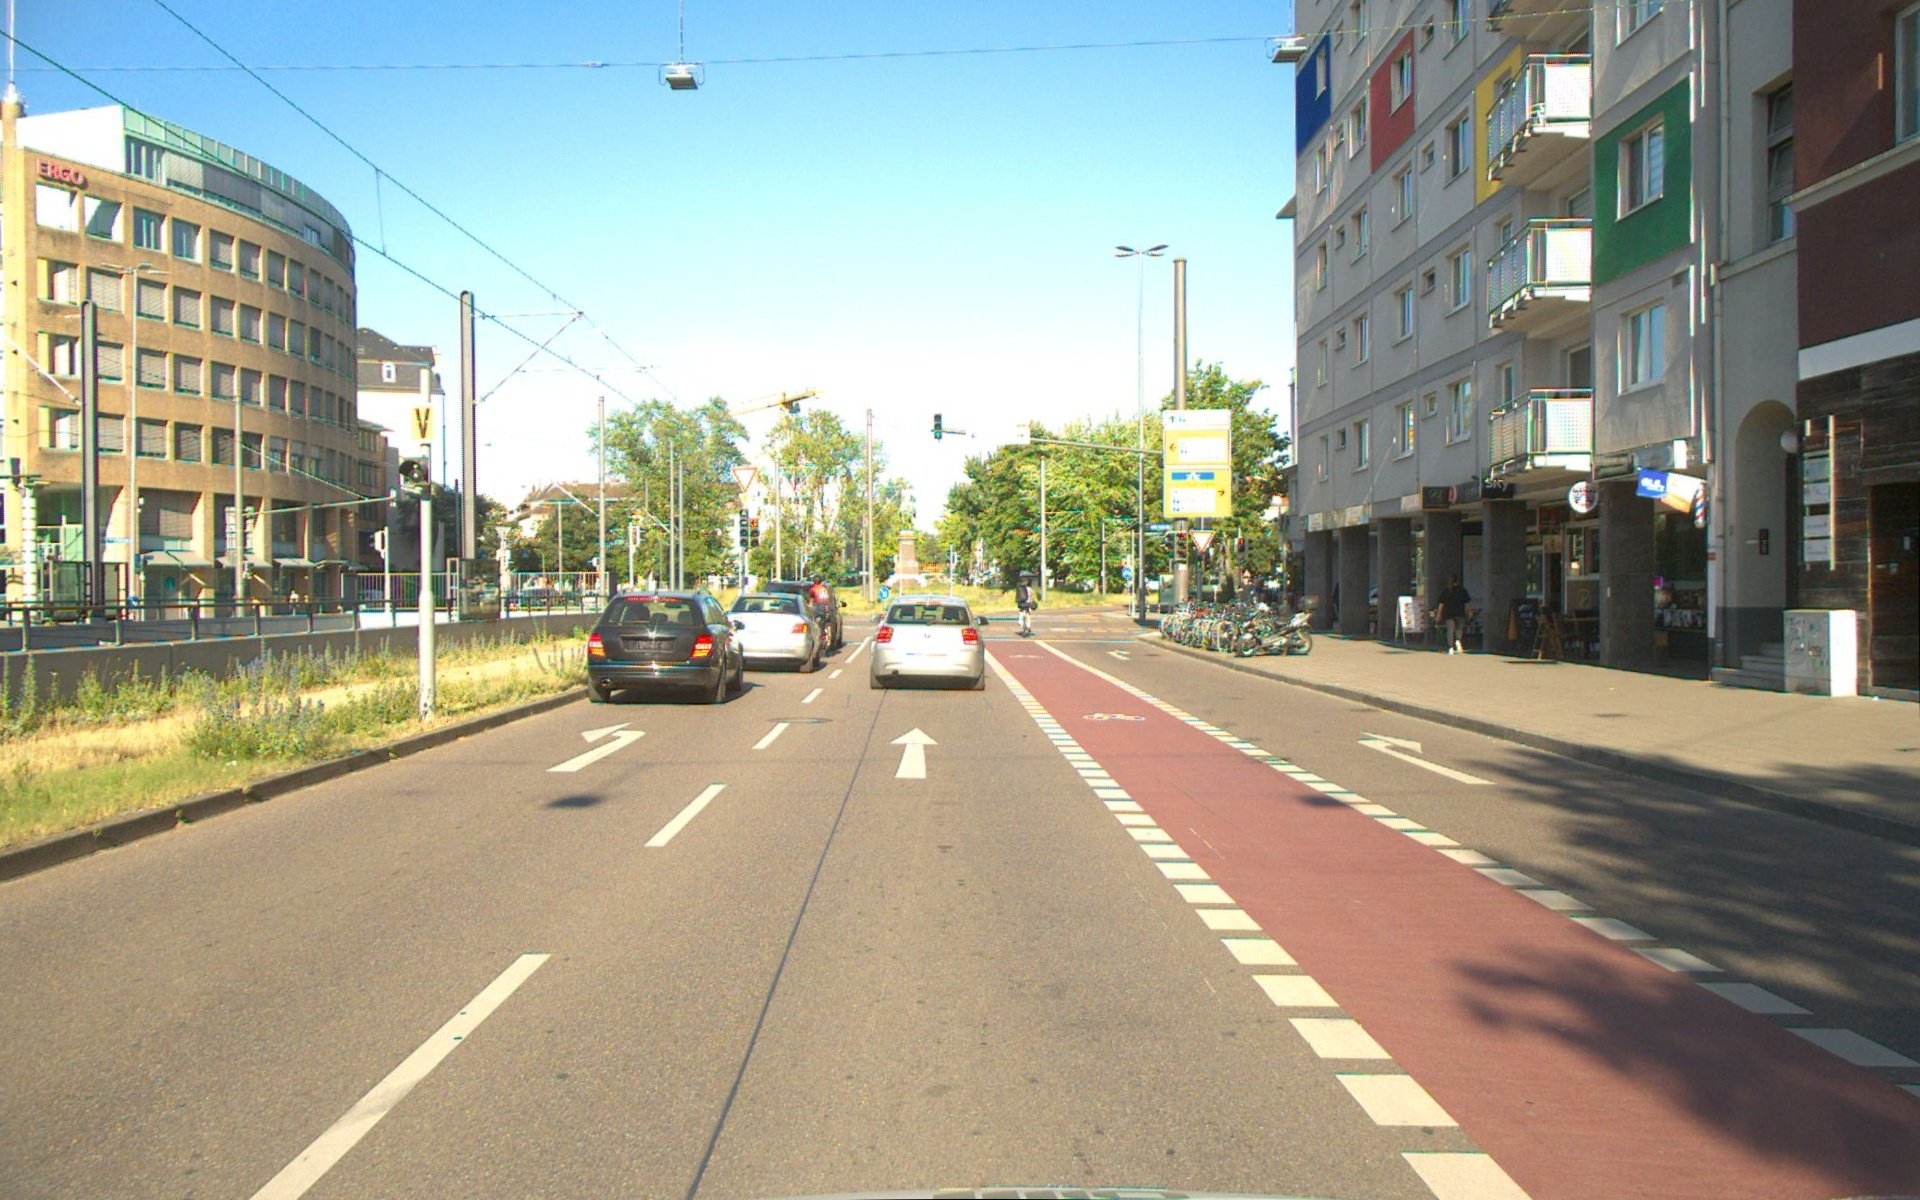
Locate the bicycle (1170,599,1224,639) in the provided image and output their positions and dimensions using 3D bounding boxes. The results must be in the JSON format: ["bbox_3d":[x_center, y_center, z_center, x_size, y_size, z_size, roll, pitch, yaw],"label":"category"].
[{"bbox_3d":[6.629,0.532,46.269,1.435,1.086,0.257,-1,0,1],"label":"bicycle"}]

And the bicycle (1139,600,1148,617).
[{"bbox_3d":[10.811,0.495,97.447,0.344,0.975,1.573,2,0,0],"label":"bicycle"}]

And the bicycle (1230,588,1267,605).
[{"bbox_3d":[18.317,-0.227,105.112,2.270,1.087,0.556,0,0,22],"label":"bicycle"}]

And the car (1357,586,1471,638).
[{"bbox_3d":[19.245,0.503,70.195,4.272,2.049,1.972,2,0,0],"label":"car"}]

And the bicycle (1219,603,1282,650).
[{"bbox_3d":[6.865,0.622,39.105,1.435,1.086,0.257,-1,0,1],"label":"bicycle"}]

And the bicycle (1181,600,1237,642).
[{"bbox_3d":[6.669,0.567,44.361,1.435,1.086,0.257,-1,0,1],"label":"bicycle"}]

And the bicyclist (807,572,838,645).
[{"bbox_3d":[-3.029,0.178,36.431,0.606,1.599,0.684,0,0,-13],"label":"bicyclist"}]

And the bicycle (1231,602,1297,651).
[{"bbox_3d":[6.957,0.609,37.846,1.435,1.086,0.257,-1,0,1],"label":"bicycle"}]

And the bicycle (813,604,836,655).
[{"bbox_3d":[-2.992,0.630,36.417,0.332,1.075,1.774,0,0,-11],"label":"bicycle"}]

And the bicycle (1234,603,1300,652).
[{"bbox_3d":[6.956,0.620,37.475,1.435,1.086,0.257,-1,0,1],"label":"bicycle"}]

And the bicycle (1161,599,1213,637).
[{"bbox_3d":[6.598,0.518,48.078,1.435,1.086,0.257,-1,0,1],"label":"bicycle"}]

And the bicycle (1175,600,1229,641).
[{"bbox_3d":[6.627,0.564,45.323,1.435,1.086,0.257,-1,0,1],"label":"bicycle"}]

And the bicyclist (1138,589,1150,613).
[{"bbox_3d":[10.818,0.041,97.378,0.604,1.404,0.686,2,0,0],"label":"bicyclist"}]

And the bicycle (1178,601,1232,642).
[{"bbox_3d":[6.664,0.571,44.998,1.435,1.086,0.257,-1,0,1],"label":"bicycle"}]

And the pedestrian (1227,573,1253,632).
[{"bbox_3d":[9.827,0.089,58.058,0.774,2.049,0.870,1,0,6],"label":"pedestrian"}]

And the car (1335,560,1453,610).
[{"bbox_3d":[19.196,-0.662,73.312,4.632,2.049,2.259,2,0,0],"label":"car"}]

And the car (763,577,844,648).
[{"bbox_3d":[-3.776,0.264,40.549,1.669,1.650,3.999,0,0,-1],"label":"car"}]

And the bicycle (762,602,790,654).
[{"bbox_3d":[-4.036,0.600,36.316,0.366,1.075,1.955,2,0,0],"label":"bicycle"}]

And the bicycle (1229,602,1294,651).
[{"bbox_3d":[6.957,0.611,38.225,1.435,1.086,0.257,-1,0,1],"label":"bicycle"}]

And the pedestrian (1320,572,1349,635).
[{"bbox_3d":[12.525,0.114,55.290,0.825,2.049,0.890,1,0,8],"label":"pedestrian"}]

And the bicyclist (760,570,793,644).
[{"bbox_3d":[-4.035,0.145,36.325,0.604,1.599,0.686,2,0,0],"label":"bicyclist"}]

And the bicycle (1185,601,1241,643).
[{"bbox_3d":[6.676,0.580,43.685,1.435,1.086,0.257,-1,0,1],"label":"bicycle"}]

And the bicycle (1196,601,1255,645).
[{"bbox_3d":[6.749,0.580,42.025,1.435,1.086,0.257,-1,0,1],"label":"bicycle"}]

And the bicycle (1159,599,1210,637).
[{"bbox_3d":[6.572,0.519,48.502,1.435,1.086,0.257,-1,0,1],"label":"bicycle"}]

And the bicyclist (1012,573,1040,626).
[{"bbox_3d":[1.984,-0.021,50.030,0.769,1.558,0.895,2,0,-1],"label":"bicyclist"}]

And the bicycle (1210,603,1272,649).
[{"bbox_3d":[6.843,0.633,40.293,1.435,1.086,0.257,-1,0,1],"label":"bicycle"}]

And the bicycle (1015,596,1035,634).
[{"bbox_3d":[1.962,0.433,50.053,0.489,1.107,1.996,2,0,-1],"label":"bicycle"}]

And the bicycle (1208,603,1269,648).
[{"bbox_3d":[6.836,0.628,40.637,1.435,1.086,0.257,-1,0,1],"label":"bicycle"}]

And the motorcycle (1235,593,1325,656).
[{"bbox_3d":[6.956,0.530,35.978,1.816,1.323,0.652,-1,0,2],"label":"motorcycle"}]

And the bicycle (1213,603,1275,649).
[{"bbox_3d":[6.849,0.621,39.920,1.435,1.086,0.257,-1,0,1],"label":"bicycle"}]

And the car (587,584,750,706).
[{"bbox_3d":[-3.874,0.555,22.607,1.692,1.496,4.407,0,0,-4],"label":"car"}]

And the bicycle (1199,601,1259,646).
[{"bbox_3d":[6.776,0.591,41.683,1.435,1.086,0.257,-1,0,1],"label":"bicycle"}]

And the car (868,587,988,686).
[{"bbox_3d":[-0.496,0.526,26.353,1.761,1.439,3.999,0,0,-1],"label":"car"}]

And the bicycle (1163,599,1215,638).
[{"bbox_3d":[6.611,0.525,47.769,1.435,1.086,0.257,-1,0,1],"label":"bicycle"}]

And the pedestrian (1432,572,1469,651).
[{"bbox_3d":[10.264,0.236,34.633,0.543,1.610,0.574,-2,0,-1],"label":"pedestrian"}]

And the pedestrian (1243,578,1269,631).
[{"bbox_3d":[10.687,0.152,59.708,0.808,1.888,0.917,1,0,13],"label":"pedestrian"}]

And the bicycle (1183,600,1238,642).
[{"bbox_3d":[6.669,0.550,44.044,1.435,1.086,0.257,-1,0,1],"label":"bicycle"}]

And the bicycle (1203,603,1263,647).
[{"bbox_3d":[6.812,0.619,41.338,1.435,1.086,0.257,-1,0,1],"label":"bicycle"}]

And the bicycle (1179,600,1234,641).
[{"bbox_3d":[6.661,0.555,44.675,1.435,1.086,0.257,-1,0,1],"label":"bicycle"}]

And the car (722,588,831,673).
[{"bbox_3d":[-3.337,0.528,30.664,1.611,1.446,3.999,1,0,-1],"label":"car"}]

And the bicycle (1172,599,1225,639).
[{"bbox_3d":[6.626,0.535,45.946,1.435,1.086,0.257,-1,0,1],"label":"bicycle"}]

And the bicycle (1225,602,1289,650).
[{"bbox_3d":[6.937,0.610,38.696,1.435,1.086,0.257,-1,0,1],"label":"bicycle"}]

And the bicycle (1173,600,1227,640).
[{"bbox_3d":[6.621,0.549,45.640,1.435,1.086,0.257,-1,0,1],"label":"bicycle"}]
